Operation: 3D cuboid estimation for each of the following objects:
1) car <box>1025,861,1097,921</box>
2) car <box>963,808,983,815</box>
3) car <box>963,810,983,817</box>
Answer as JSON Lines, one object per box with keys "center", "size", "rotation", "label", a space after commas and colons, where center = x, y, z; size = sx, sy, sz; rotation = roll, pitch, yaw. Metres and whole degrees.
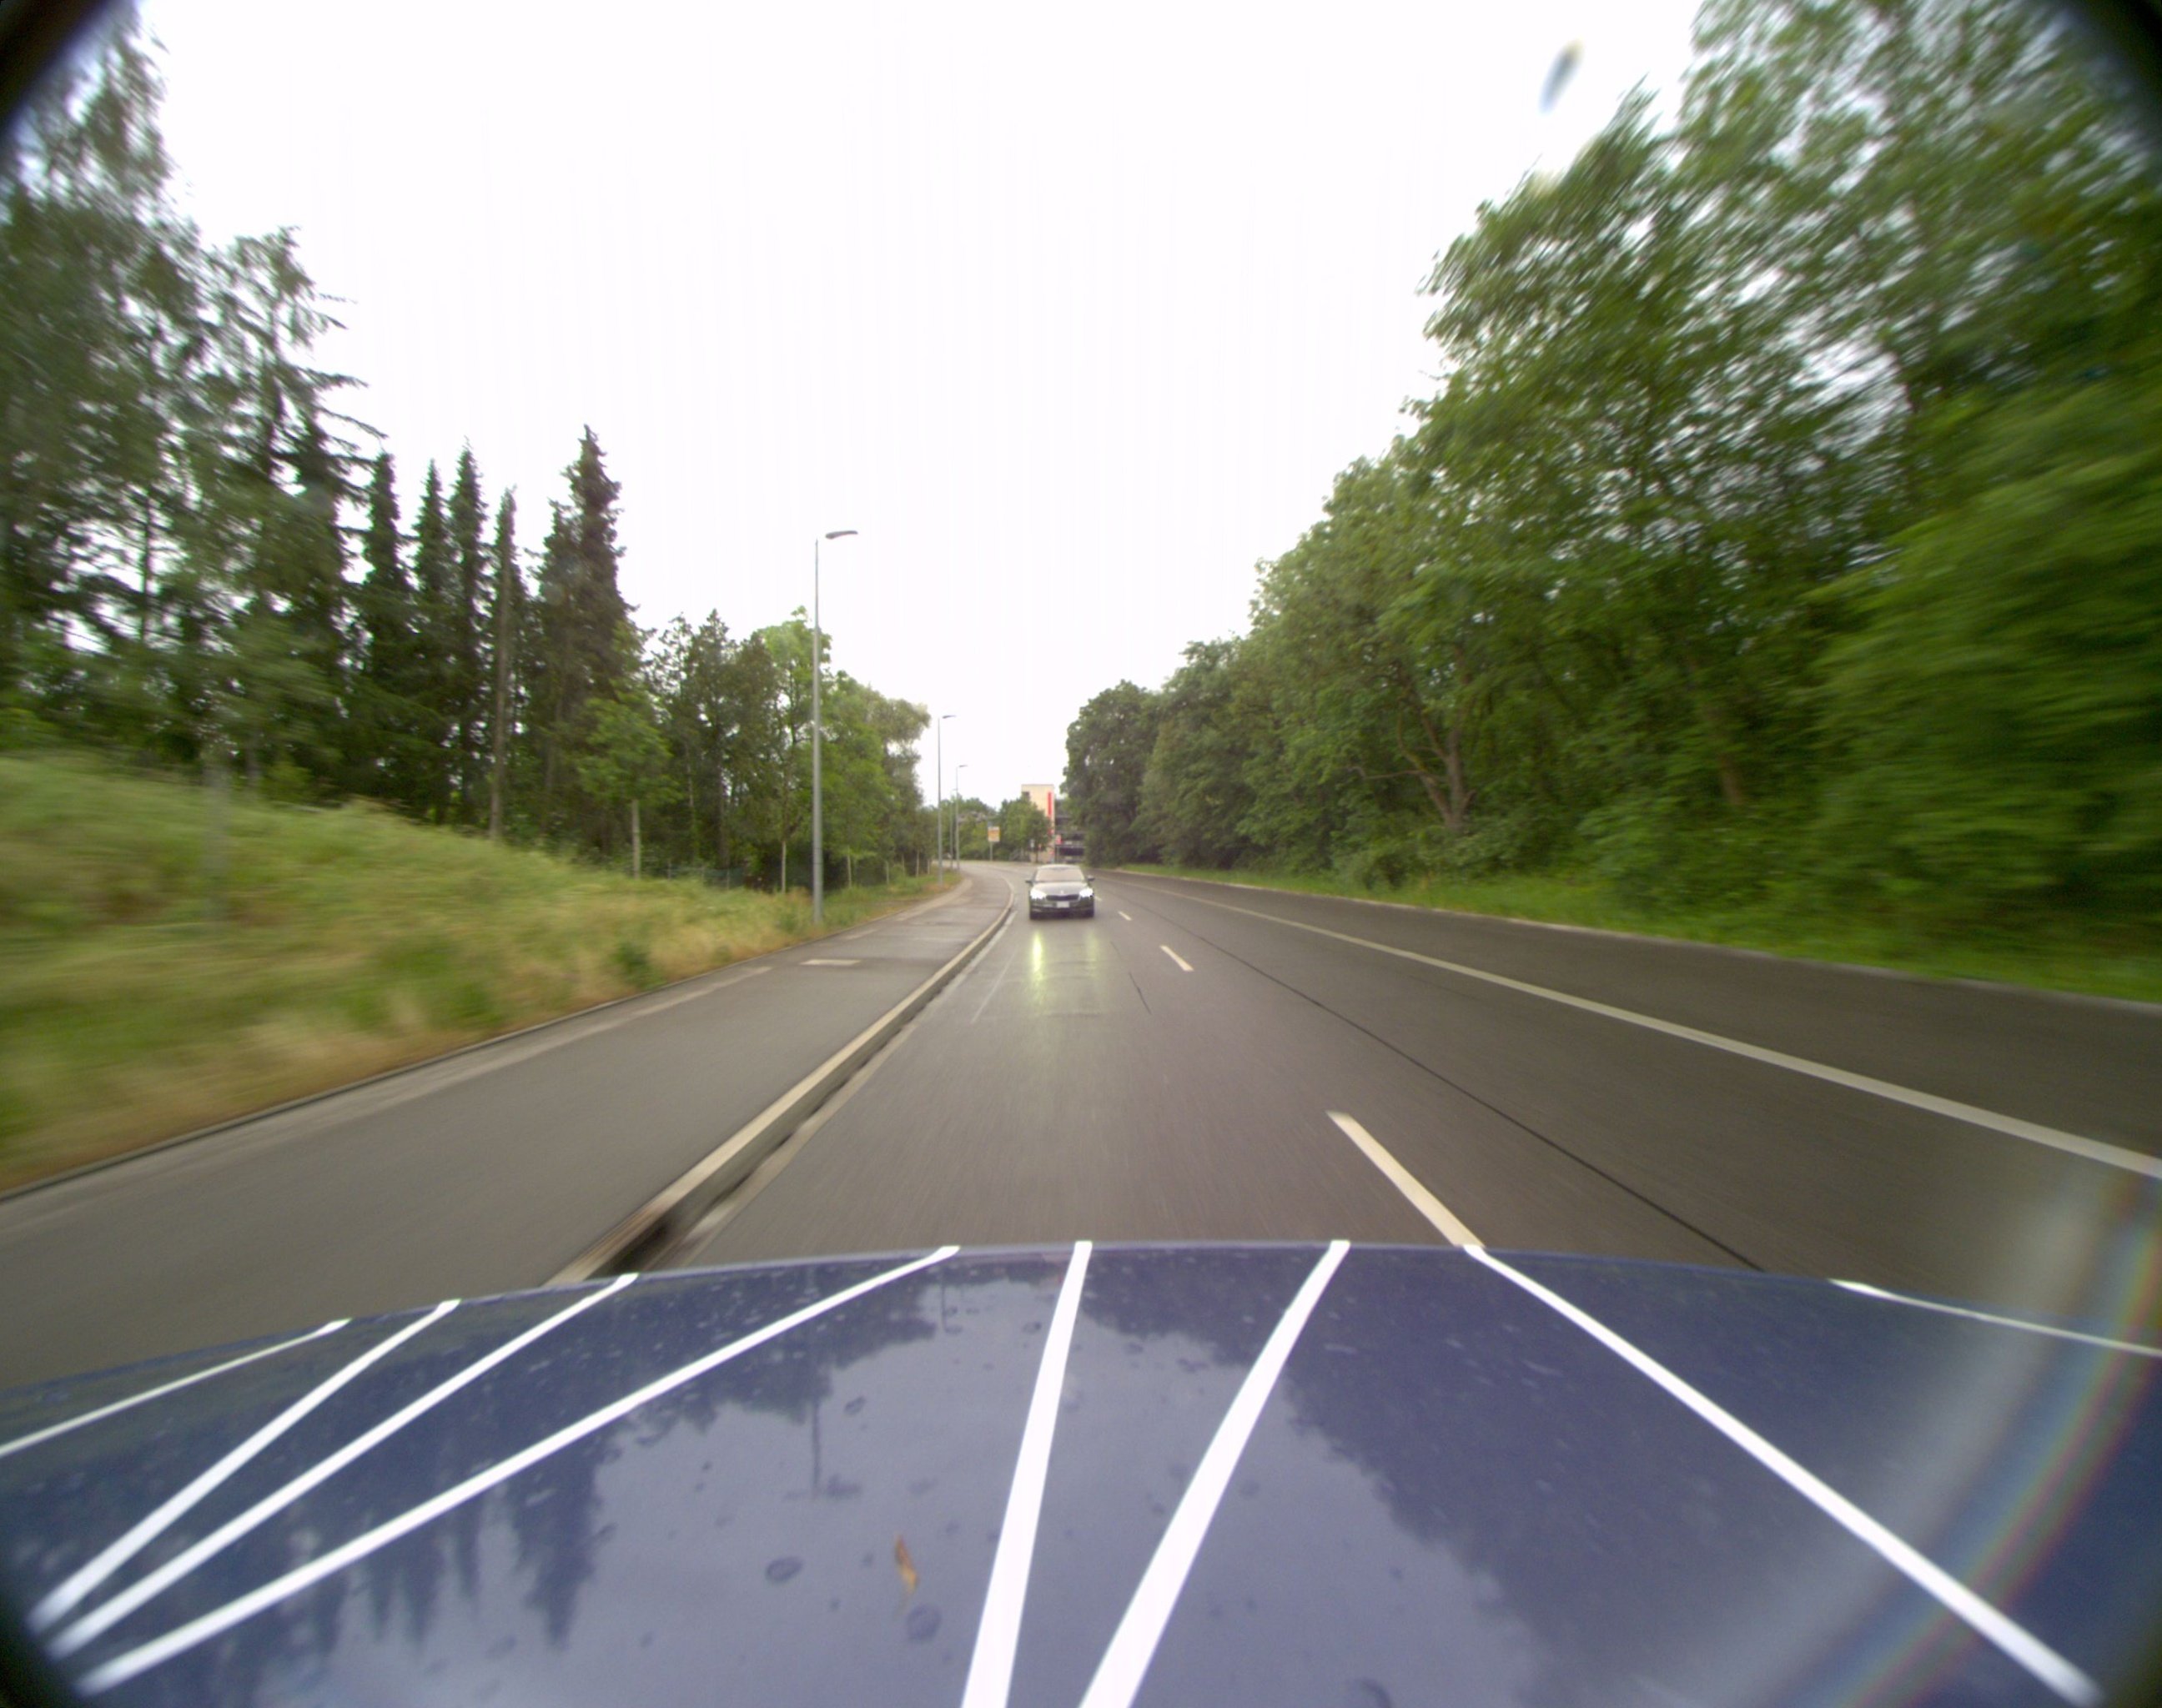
{"center": [-0.578, 0.982, 21.944], "size": [1.839, 1.448, 4.201], "rotation": [-2, 1, -2], "label": "car"}
{"center": [-23.951, -9.394, 168.717], "size": [3.996, 1.510, 2.000], "rotation": [1, 1, 3], "label": "car"}
{"center": [-23.465, -8.768, 164.595], "size": [3.996, 1.510, 2.000], "rotation": [1, 1, 3], "label": "car"}
